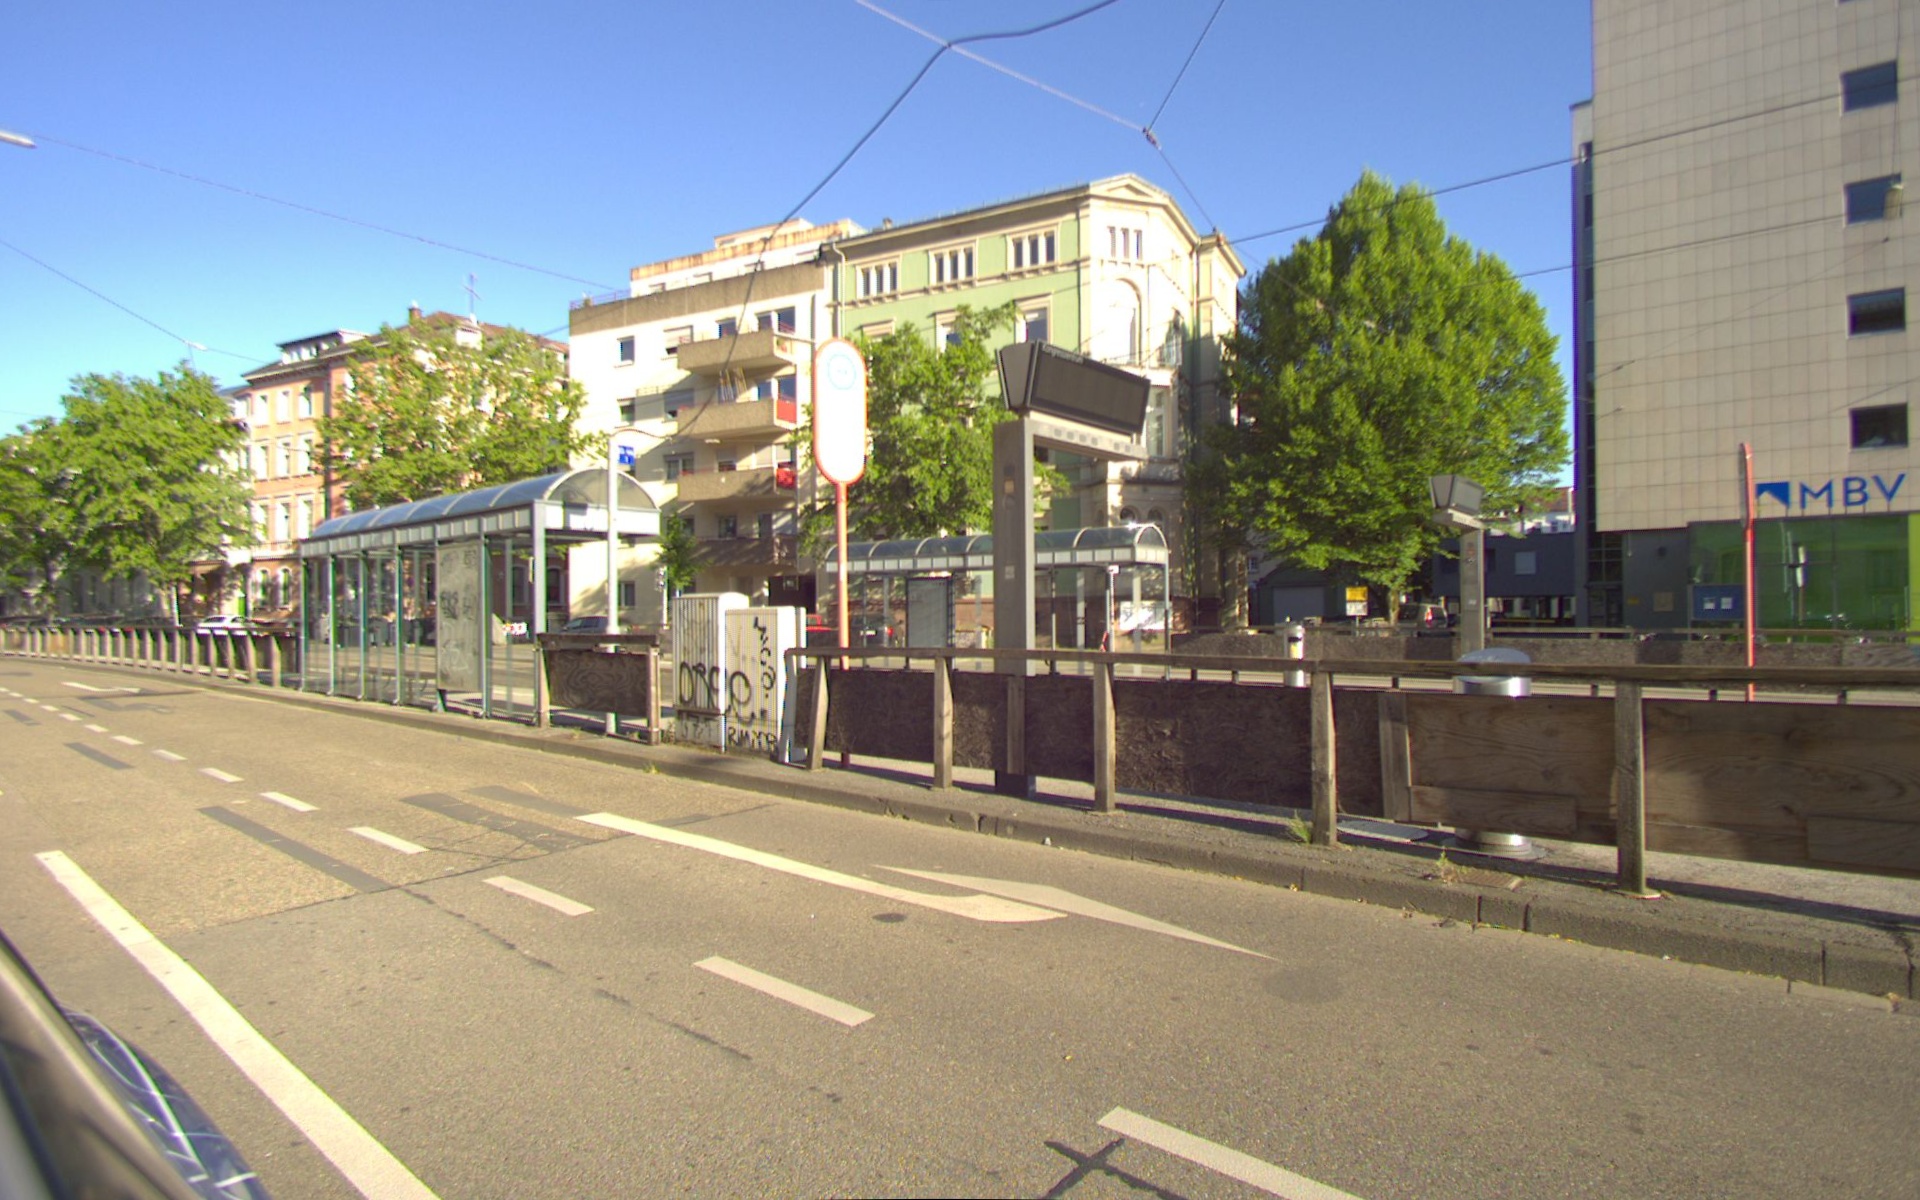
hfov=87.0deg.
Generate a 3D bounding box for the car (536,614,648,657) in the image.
[{"bbox_3d":[-14.022,1.358,38.548,3.987,1.542,1.978,-1,-3,32],"label":"car"}]

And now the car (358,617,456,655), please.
[{"bbox_3d":[-23.541,1.513,43.054,3.987,1.541,1.978,-1,-2,32],"label":"car"}]

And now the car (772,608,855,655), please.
[{"bbox_3d":[-6.614,1.416,46.122,1.791,2.029,3.963,-1,-1,27],"label":"car"}]

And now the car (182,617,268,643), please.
[{"bbox_3d":[-39.232,1.579,54.114,1.565,1.360,3.631,0,-1,11],"label":"car"}]
